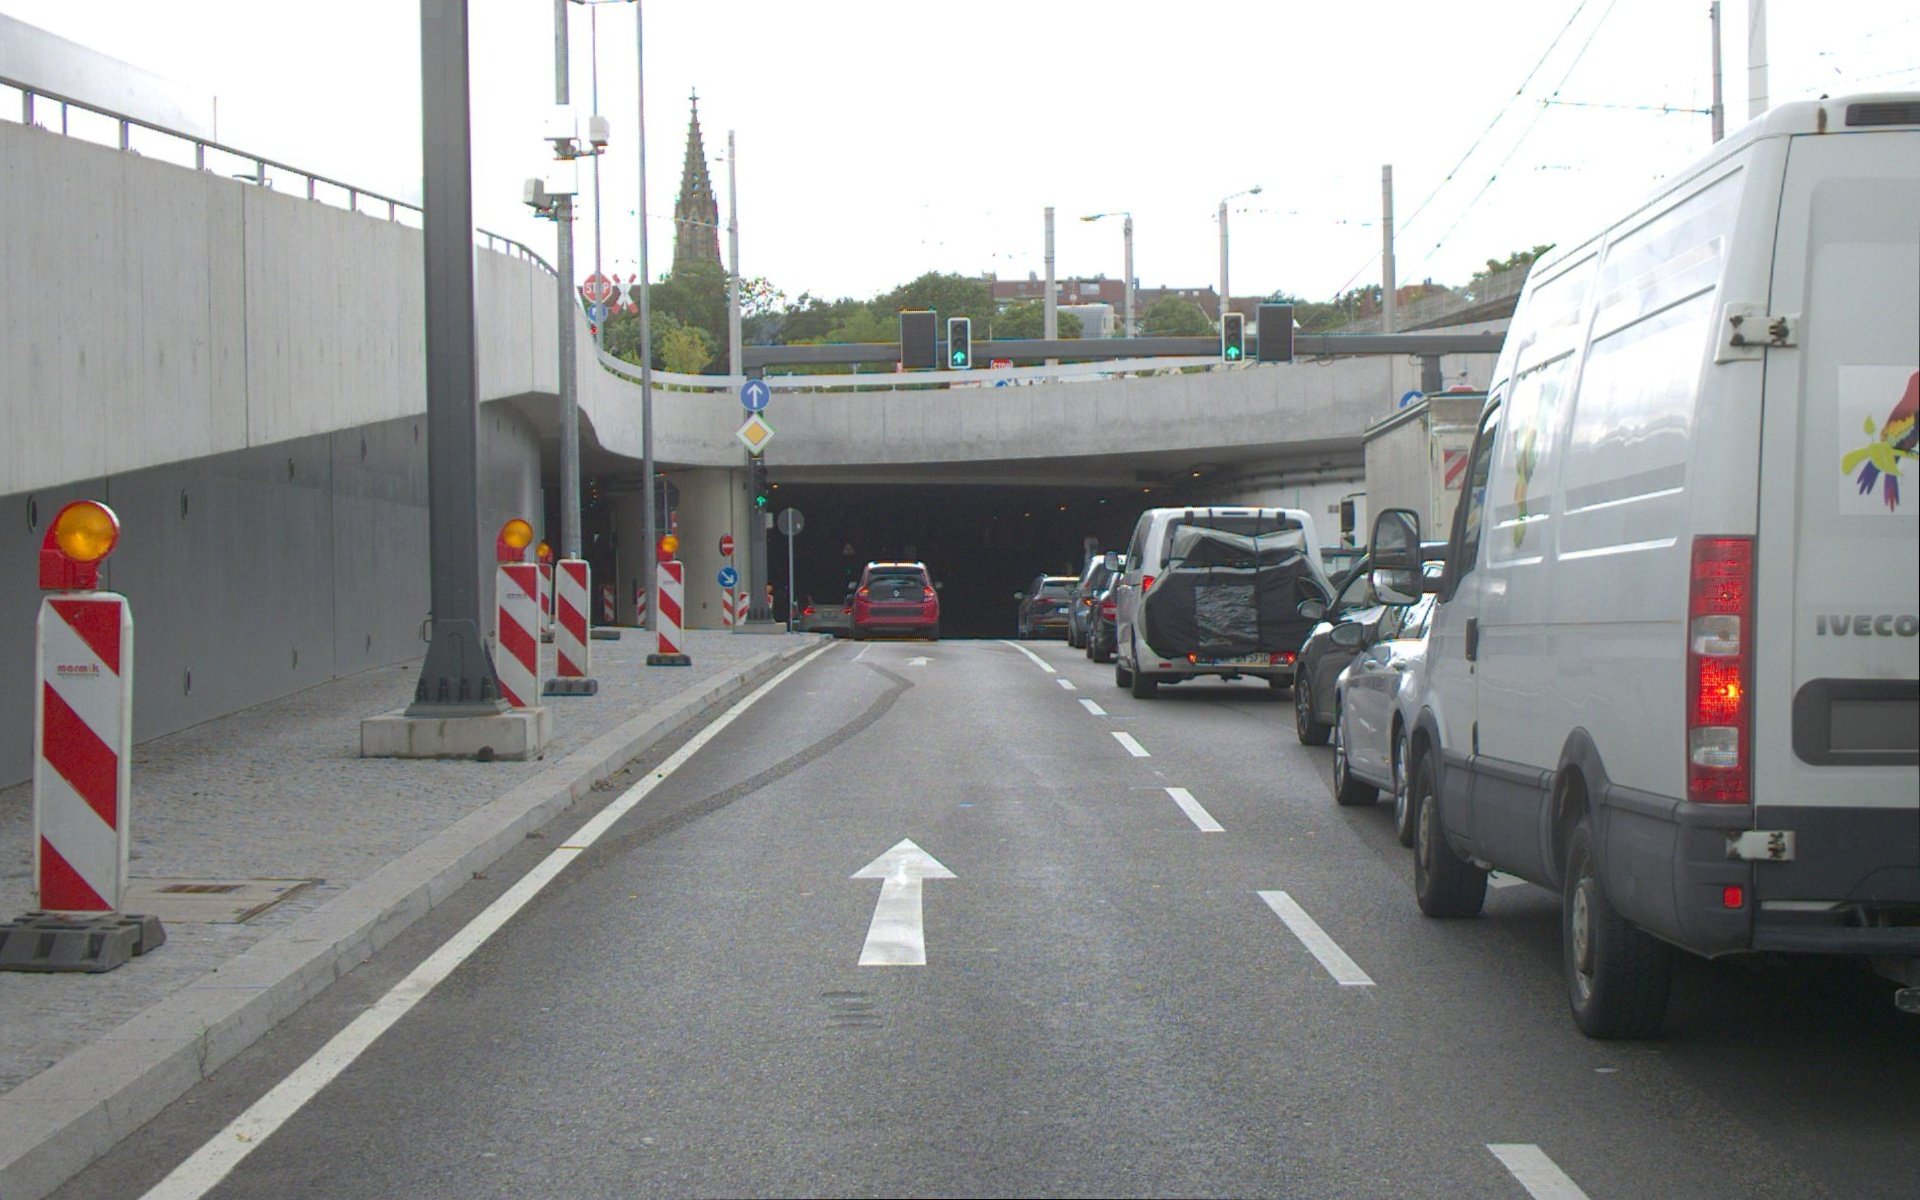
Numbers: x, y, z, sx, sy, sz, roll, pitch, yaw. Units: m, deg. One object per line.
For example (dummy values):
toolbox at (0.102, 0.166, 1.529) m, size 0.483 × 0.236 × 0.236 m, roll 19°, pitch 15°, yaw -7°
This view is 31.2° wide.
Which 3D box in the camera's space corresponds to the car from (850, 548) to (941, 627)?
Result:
car at (-1.282, -0.220, 67.181) m, size 1.660 × 1.483 × 3.567 m, roll -1°, pitch -1°, yaw -3°

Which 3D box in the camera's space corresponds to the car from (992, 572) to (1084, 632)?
car at (1.645, 0.062, 73.702) m, size 1.663 × 1.243 × 3.567 m, roll -1°, pitch -1°, yaw -3°

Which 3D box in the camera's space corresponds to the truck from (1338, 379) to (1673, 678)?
truck at (6.262, -0.784, 40.627) m, size 2.649 × 3.174 × 7.426 m, roll -1°, pitch 0°, yaw -1°

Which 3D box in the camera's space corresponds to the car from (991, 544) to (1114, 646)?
car at (1.531, -0.097, 58.152) m, size 1.818 × 1.575 × 4.000 m, roll 3°, pitch 0°, yaw -1°

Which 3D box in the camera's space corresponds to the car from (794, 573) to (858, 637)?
car at (-4.398, 0.152, 112.240) m, size 1.993 × 2.007 × 4.001 m, roll 0°, pitch 1°, yaw -4°

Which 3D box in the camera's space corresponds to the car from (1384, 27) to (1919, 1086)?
car at (2.894, -0.083, 11.562) m, size 2.058 × 2.619 × 5.942 m, roll 3°, pitch 0°, yaw 0°

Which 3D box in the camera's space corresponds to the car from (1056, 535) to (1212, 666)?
car at (2.339, -0.029, 47.103) m, size 1.818 × 1.678 × 4.000 m, roll 1°, pitch 1°, yaw -1°

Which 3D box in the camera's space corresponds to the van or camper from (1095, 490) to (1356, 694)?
van or camper at (2.536, -0.029, 34.177) m, size 1.993 × 1.839 × 5.508 m, roll 1°, pitch -1°, yaw -2°

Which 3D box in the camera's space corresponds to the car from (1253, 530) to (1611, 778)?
car at (3.166, 0.310, 23.741) m, size 1.681 × 1.539 × 3.693 m, roll 1°, pitch 1°, yaw -4°

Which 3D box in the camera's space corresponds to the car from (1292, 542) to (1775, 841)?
car at (2.886, 0.422, 18.151) m, size 1.763 × 1.378 × 4.039 m, roll -1°, pitch 0°, yaw -1°

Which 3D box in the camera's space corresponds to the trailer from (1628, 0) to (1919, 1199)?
trailer at (2.882, -0.037, 7.207) m, size 2.103 × 2.630 × 4.810 m, roll 0°, pitch 0°, yaw 1°
